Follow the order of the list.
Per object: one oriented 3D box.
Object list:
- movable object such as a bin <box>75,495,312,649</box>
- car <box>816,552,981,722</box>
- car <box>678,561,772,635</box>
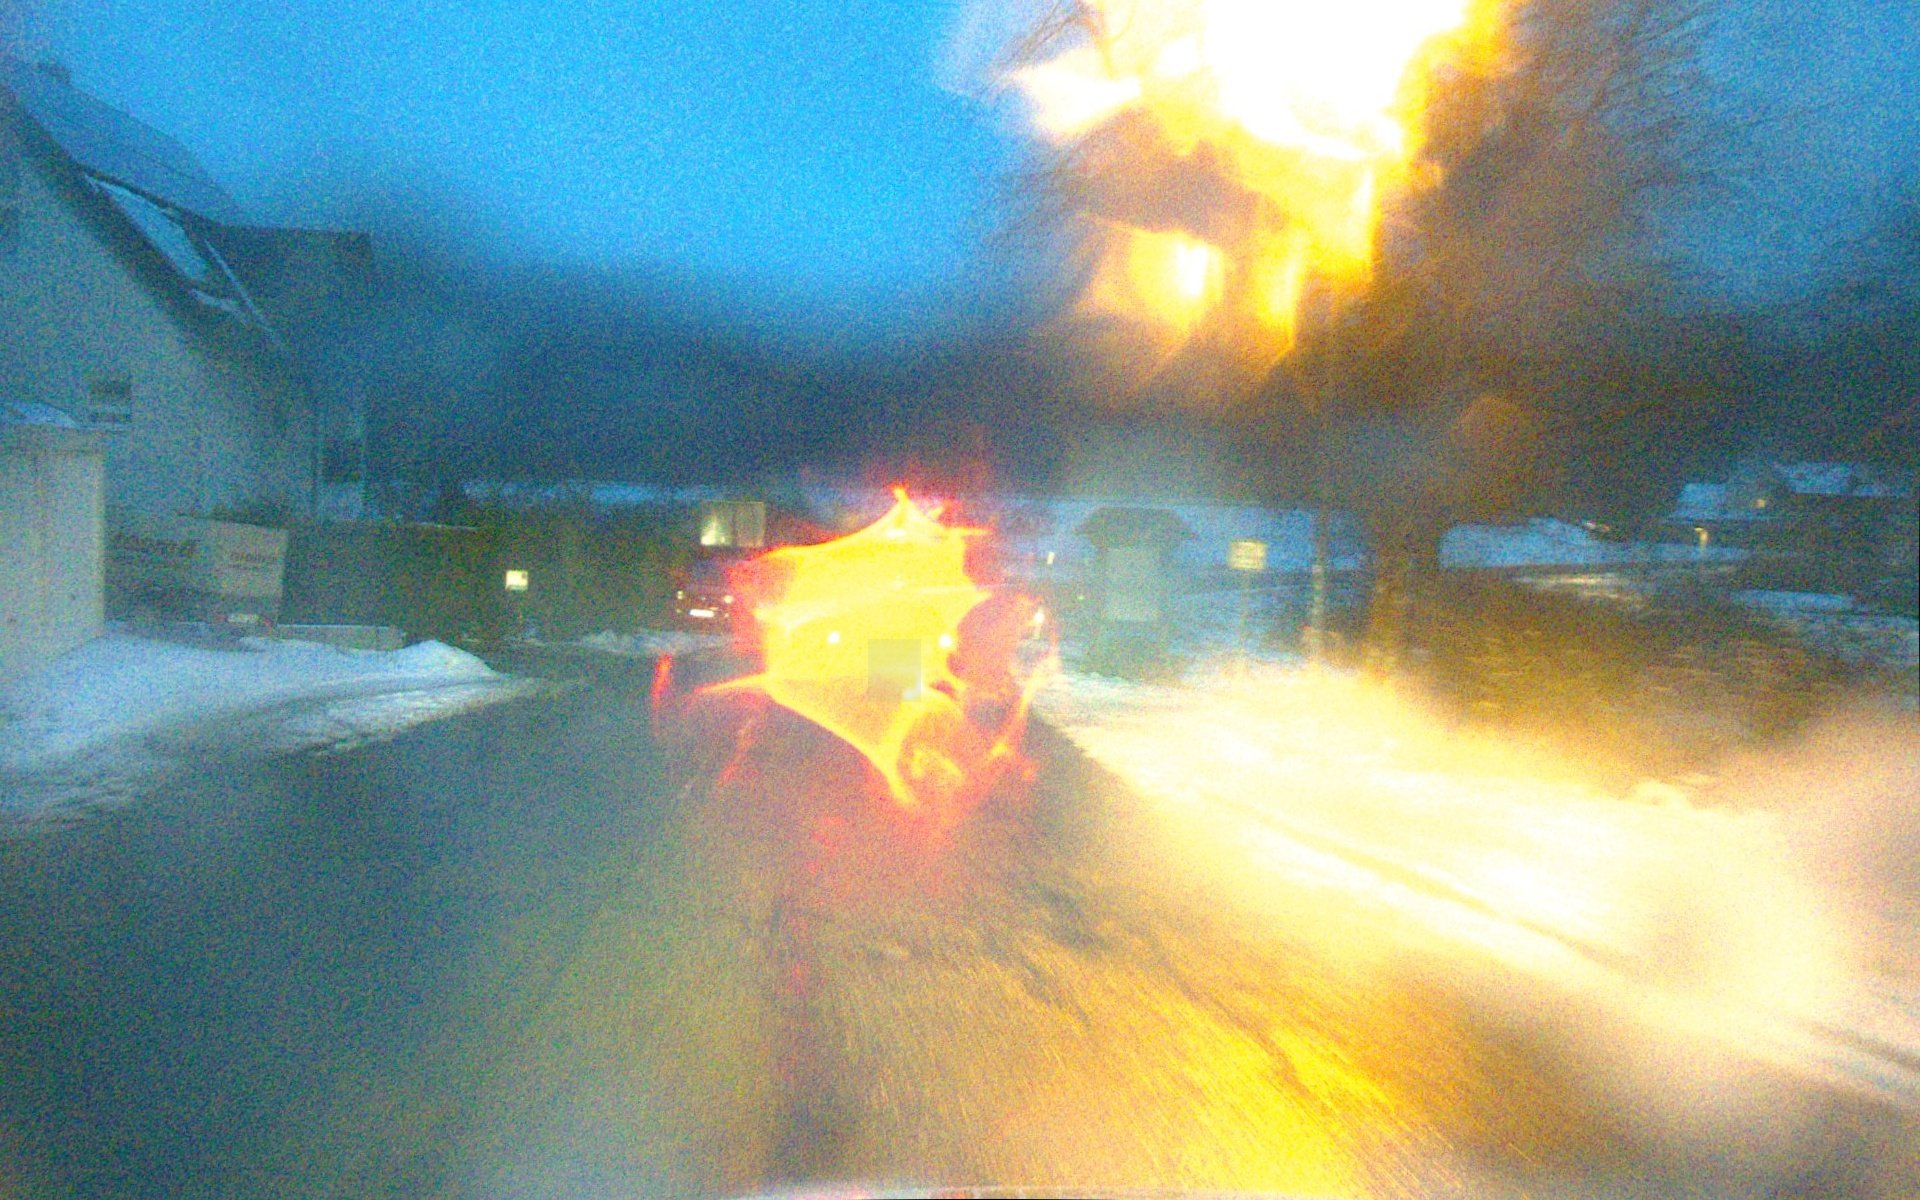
[{"bbox_3d":[-9.846,-0.364,21.288,2.316,1.676,1.441,7,2,20],"label":"movable object such as a bin"},{"bbox_3d":[-0.822,0.376,20.041,1.787,1.828,3.574,-1,1,-5],"label":"car"},{"bbox_3d":[-5.603,-0.084,39.821,1.683,1.560,3.518,2,2,0],"label":"car"}]
